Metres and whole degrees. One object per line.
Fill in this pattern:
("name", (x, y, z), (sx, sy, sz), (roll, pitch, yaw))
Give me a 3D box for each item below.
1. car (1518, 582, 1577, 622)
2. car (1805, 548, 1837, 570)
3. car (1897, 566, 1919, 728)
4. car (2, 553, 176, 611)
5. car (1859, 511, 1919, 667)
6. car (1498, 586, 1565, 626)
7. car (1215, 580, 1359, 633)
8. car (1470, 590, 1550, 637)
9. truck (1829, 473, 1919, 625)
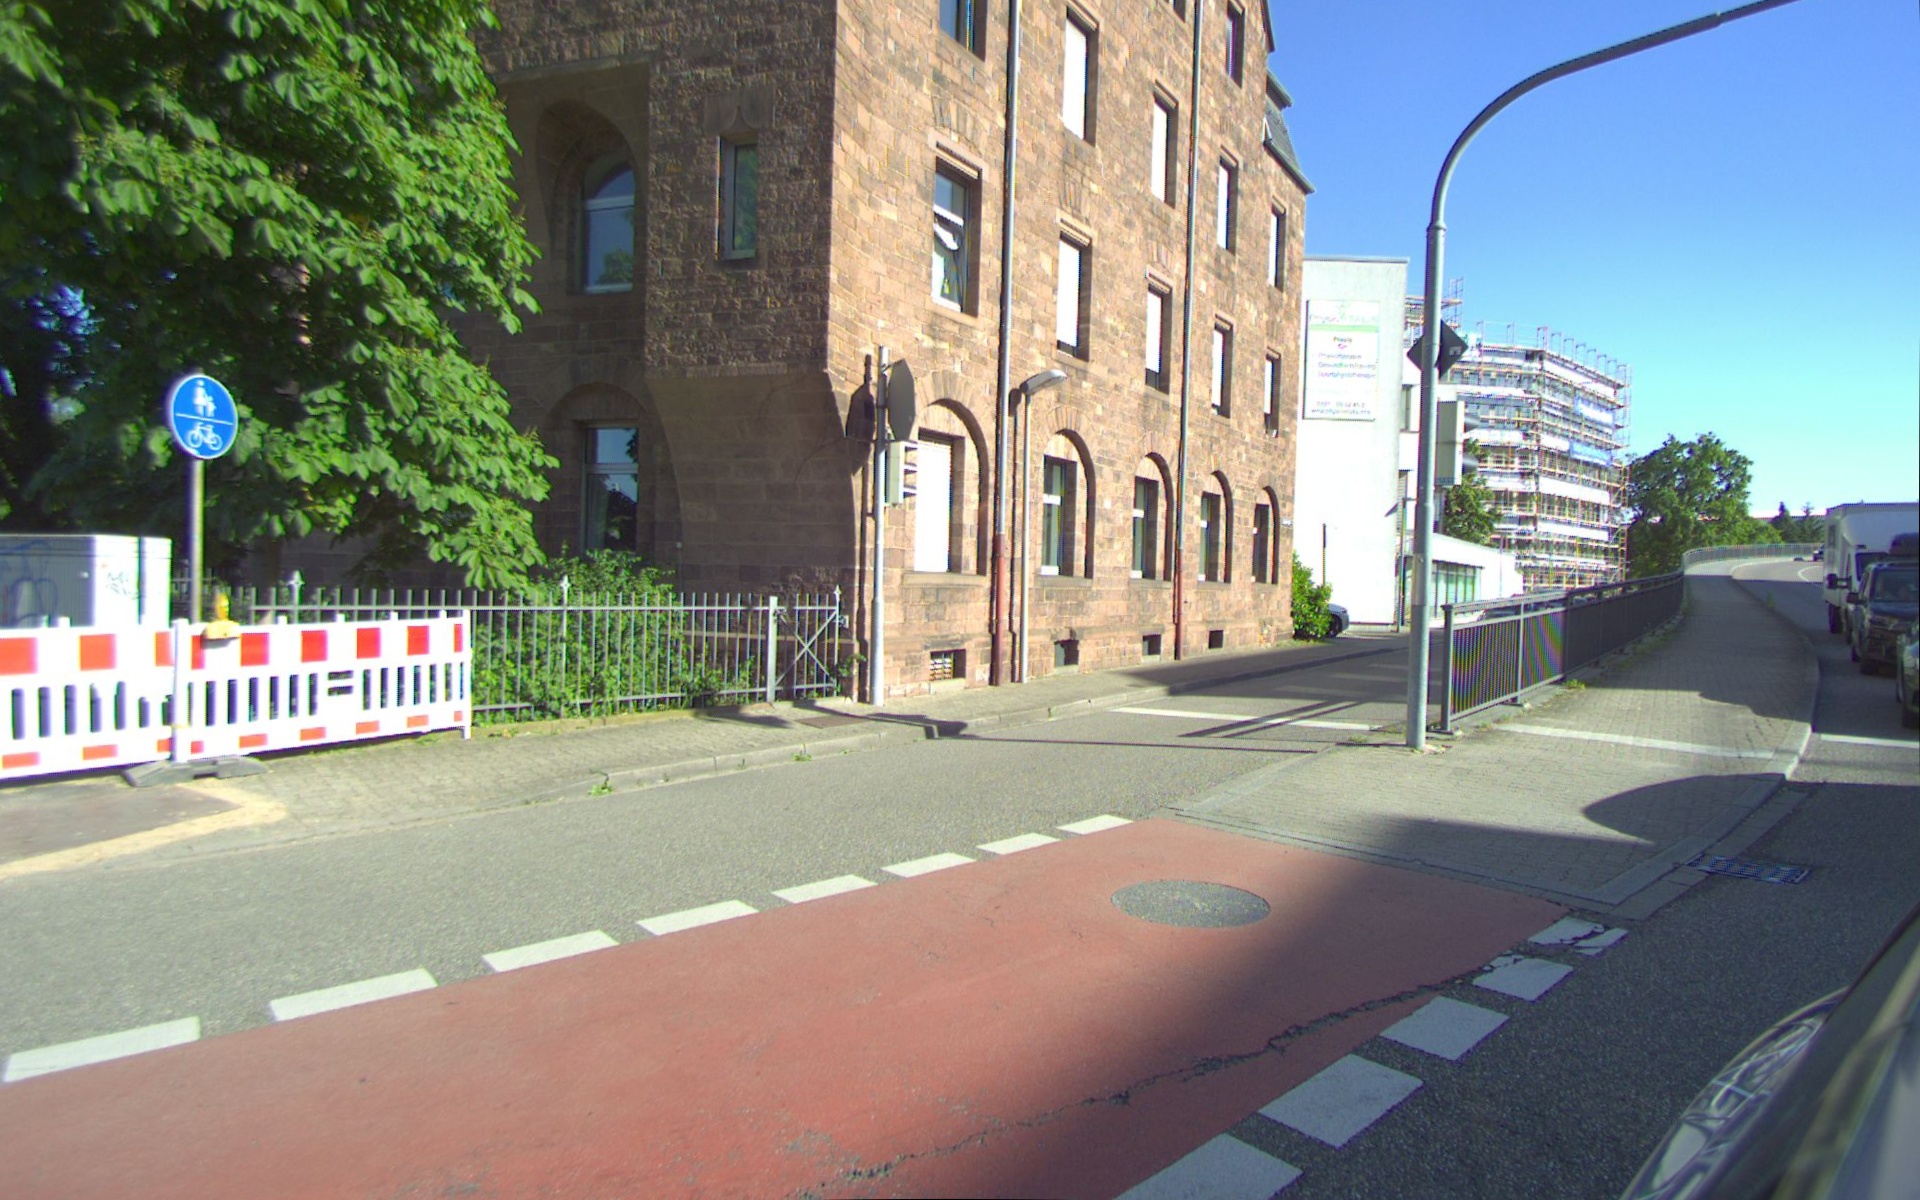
("car", (27.154, 0.065, 46.726), (2.041, 1.707, 4.041), (2, 1, 35))
("car", (78.982, -3.739, 92.815), (4.706, 1.781, 1.754), (0, 2, -44))
("car", (11.414, 0.466, 10.778), (1.873, 1.488, 4.570), (3, 5, 40))
("car", (-25.245, -0.508, 29.396), (3.718, 1.581, 1.996), (1, 2, -44))
("car", (15.974, -0.145, 16.409), (1.944, 2.289, 4.714), (2, 1, 41))
("car", (23.976, 0.239, 42.391), (2.041, 1.550, 4.041), (2, 1, 35))
("car", (10.485, 0.184, 32.706), (4.018, 1.550, 1.918), (1, 1, 3))
("car", (19.831, 0.452, 36.428), (2.042, 1.550, 4.040), (2, 1, 35))
("truck", (22.200, -1.059, 23.726), (2.493, 3.167, 6.861), (2, 1, 39))
